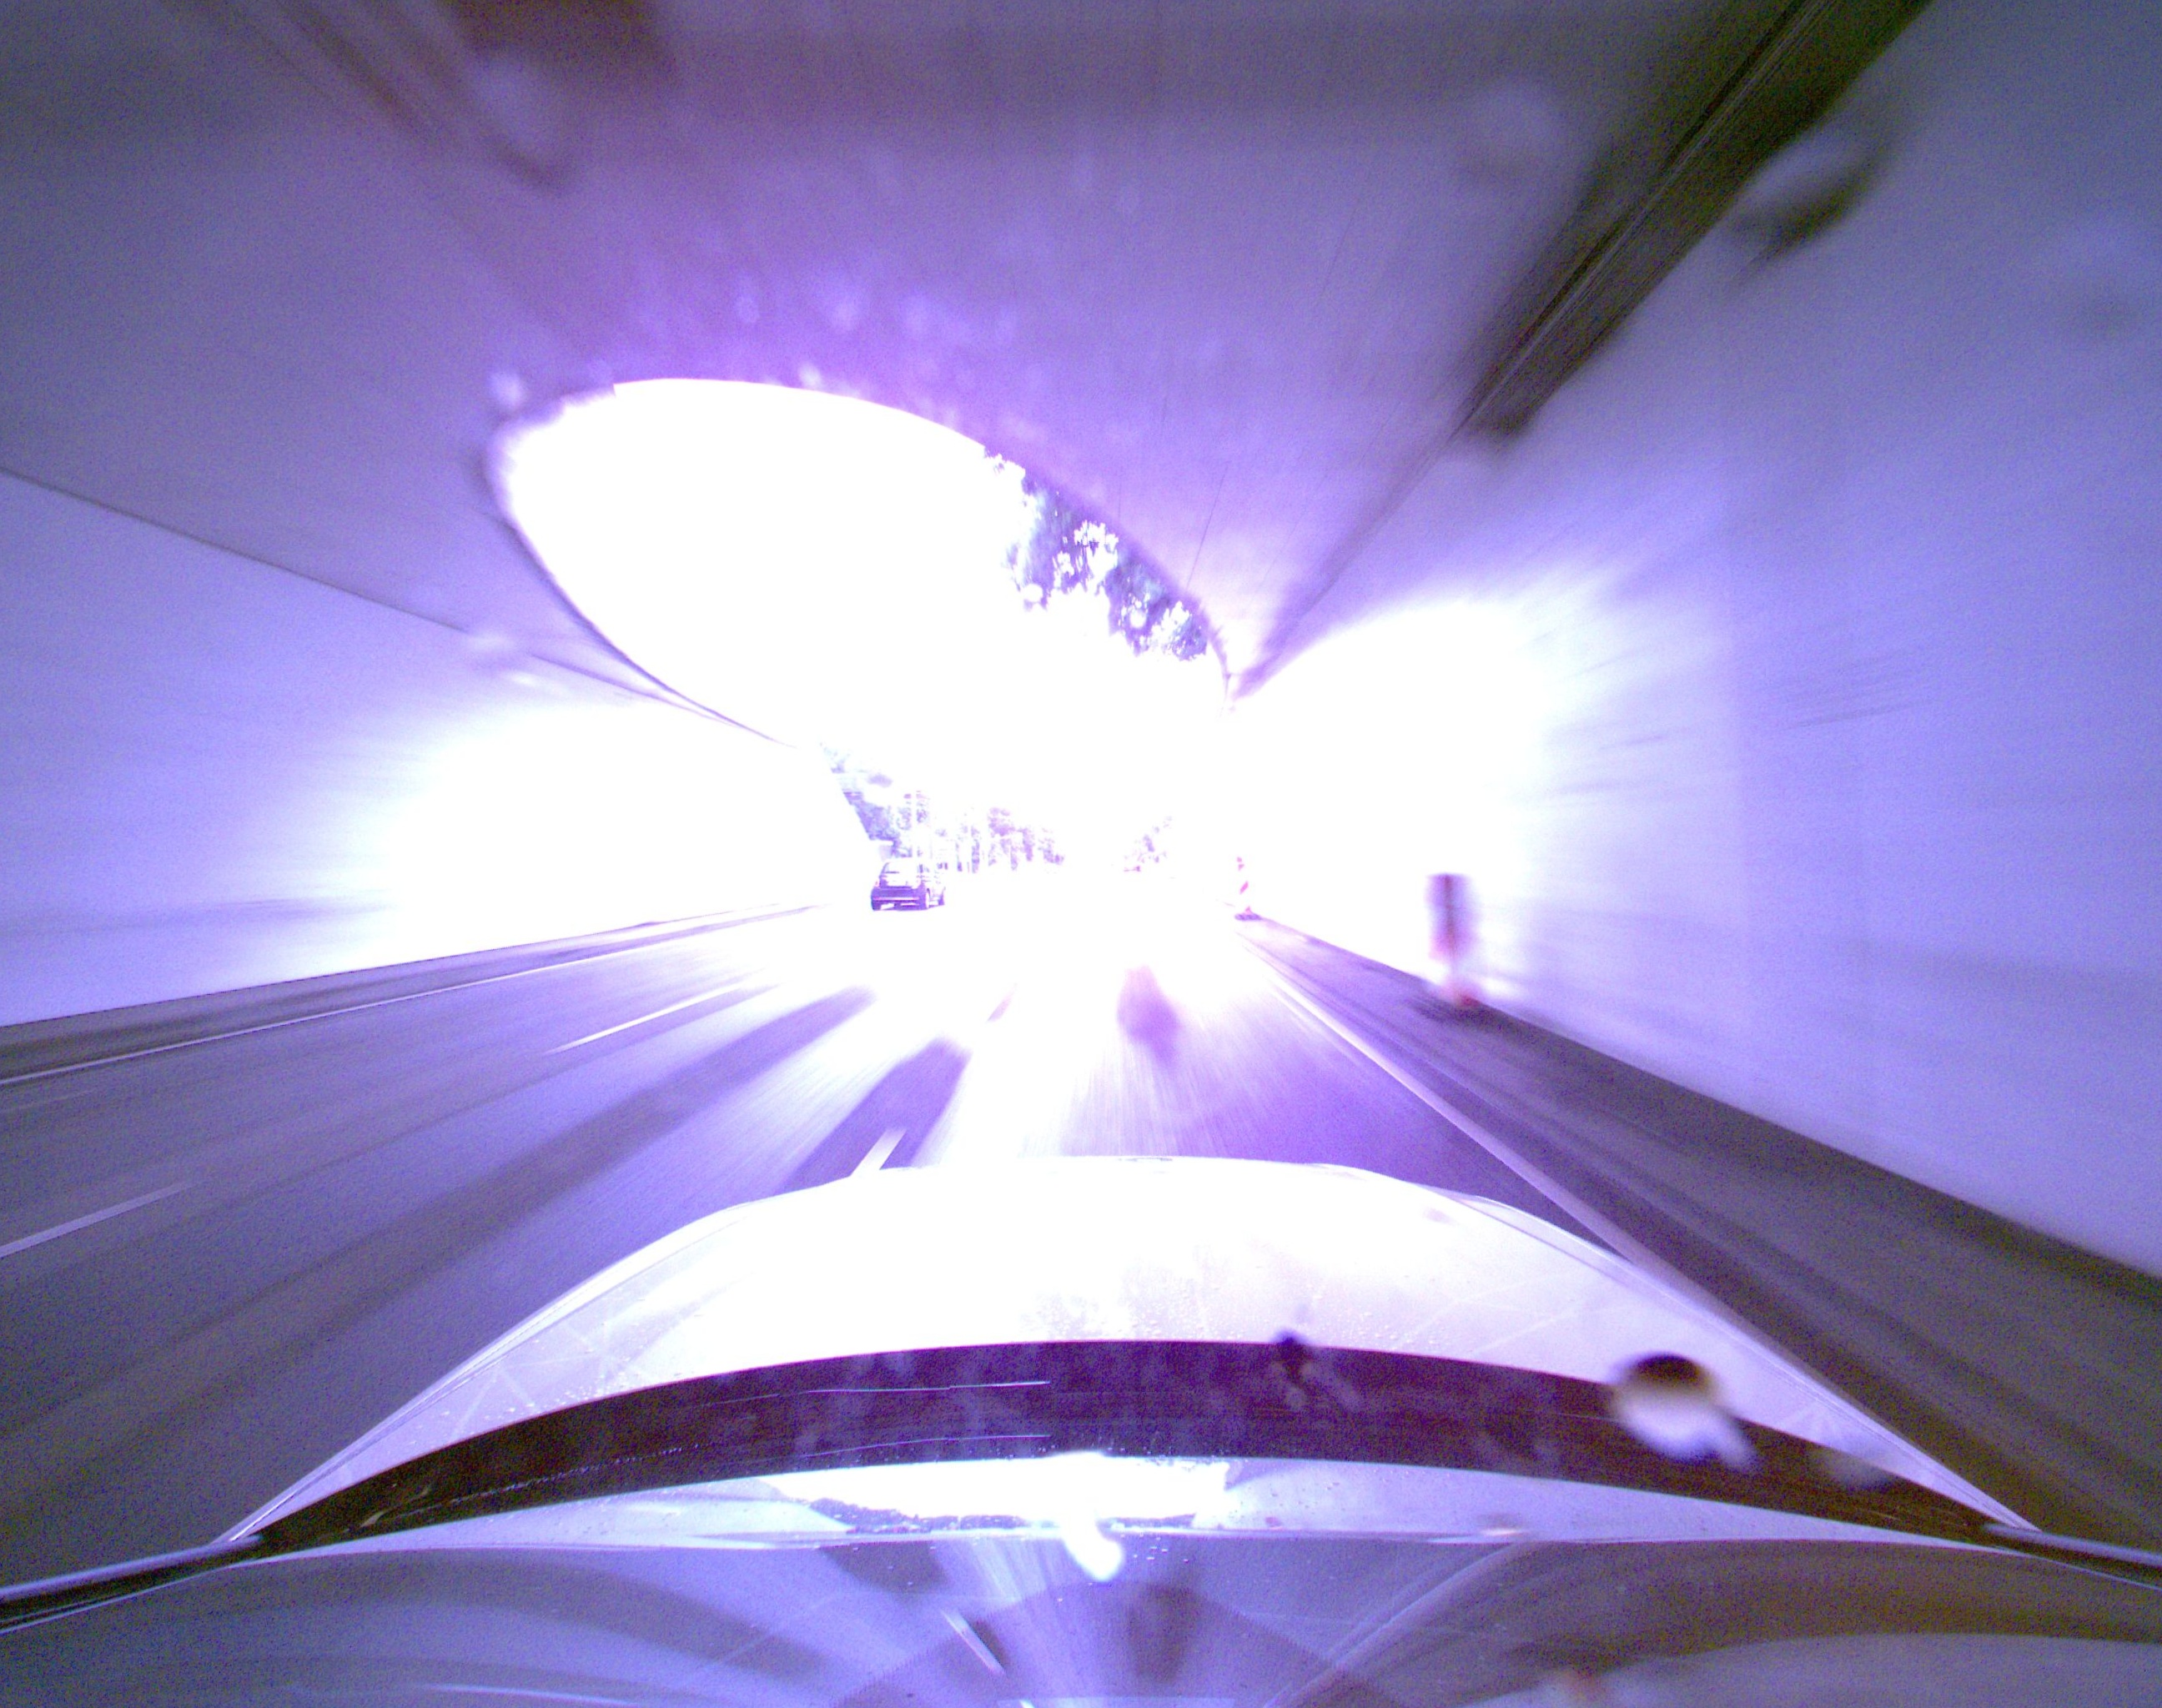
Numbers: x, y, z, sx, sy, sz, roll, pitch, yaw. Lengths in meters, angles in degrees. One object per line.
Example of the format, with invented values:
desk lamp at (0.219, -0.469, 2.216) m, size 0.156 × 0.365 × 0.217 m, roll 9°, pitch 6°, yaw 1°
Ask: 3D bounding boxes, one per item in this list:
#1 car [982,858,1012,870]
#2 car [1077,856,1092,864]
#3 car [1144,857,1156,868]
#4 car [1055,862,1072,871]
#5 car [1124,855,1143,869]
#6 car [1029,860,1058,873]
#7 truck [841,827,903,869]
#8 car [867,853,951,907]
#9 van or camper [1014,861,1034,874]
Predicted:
car at (-12.103, 1.436, 117.126) m, size 3.950 × 1.684 × 1.909 m, roll 1°, pitch 0°, yaw 28°
car at (0.612, 1.099, 145.932) m, size 1.997 × 1.301 × 4.325 m, roll 1°, pitch -1°, yaw 9°
car at (13.519, 1.721, 160.021) m, size 1.986 × 2.014 × 4.000 m, roll 2°, pitch -1°, yaw 1°
car at (-2.949, 2.113, 137.176) m, size 1.997 × 1.301 × 4.325 m, roll 1°, pitch -1°, yaw 9°
car at (5.695, 0.905, 88.924) m, size 1.985 × 1.448 × 4.317 m, roll 1°, pitch -1°, yaw 3°
car at (-5.115, 1.676, 110.957) m, size 1.907 × 1.684 × 3.954 m, roll 2°, pitch 0°, yaw -40°
truck at (-17.334, -0.494, 68.008) m, size 2.785 × 3.276 × 7.155 m, roll 1°, pitch 0°, yaw 4°
car at (-5.076, 0.724, 24.405) m, size 1.606 × 1.454 × 3.575 m, roll 0°, pitch 0°, yaw 2°
van or camper at (-9.414, 2.243, 134.663) m, size 2.116 × 2.014 × 5.326 m, roll 1°, pitch -1°, yaw 9°
